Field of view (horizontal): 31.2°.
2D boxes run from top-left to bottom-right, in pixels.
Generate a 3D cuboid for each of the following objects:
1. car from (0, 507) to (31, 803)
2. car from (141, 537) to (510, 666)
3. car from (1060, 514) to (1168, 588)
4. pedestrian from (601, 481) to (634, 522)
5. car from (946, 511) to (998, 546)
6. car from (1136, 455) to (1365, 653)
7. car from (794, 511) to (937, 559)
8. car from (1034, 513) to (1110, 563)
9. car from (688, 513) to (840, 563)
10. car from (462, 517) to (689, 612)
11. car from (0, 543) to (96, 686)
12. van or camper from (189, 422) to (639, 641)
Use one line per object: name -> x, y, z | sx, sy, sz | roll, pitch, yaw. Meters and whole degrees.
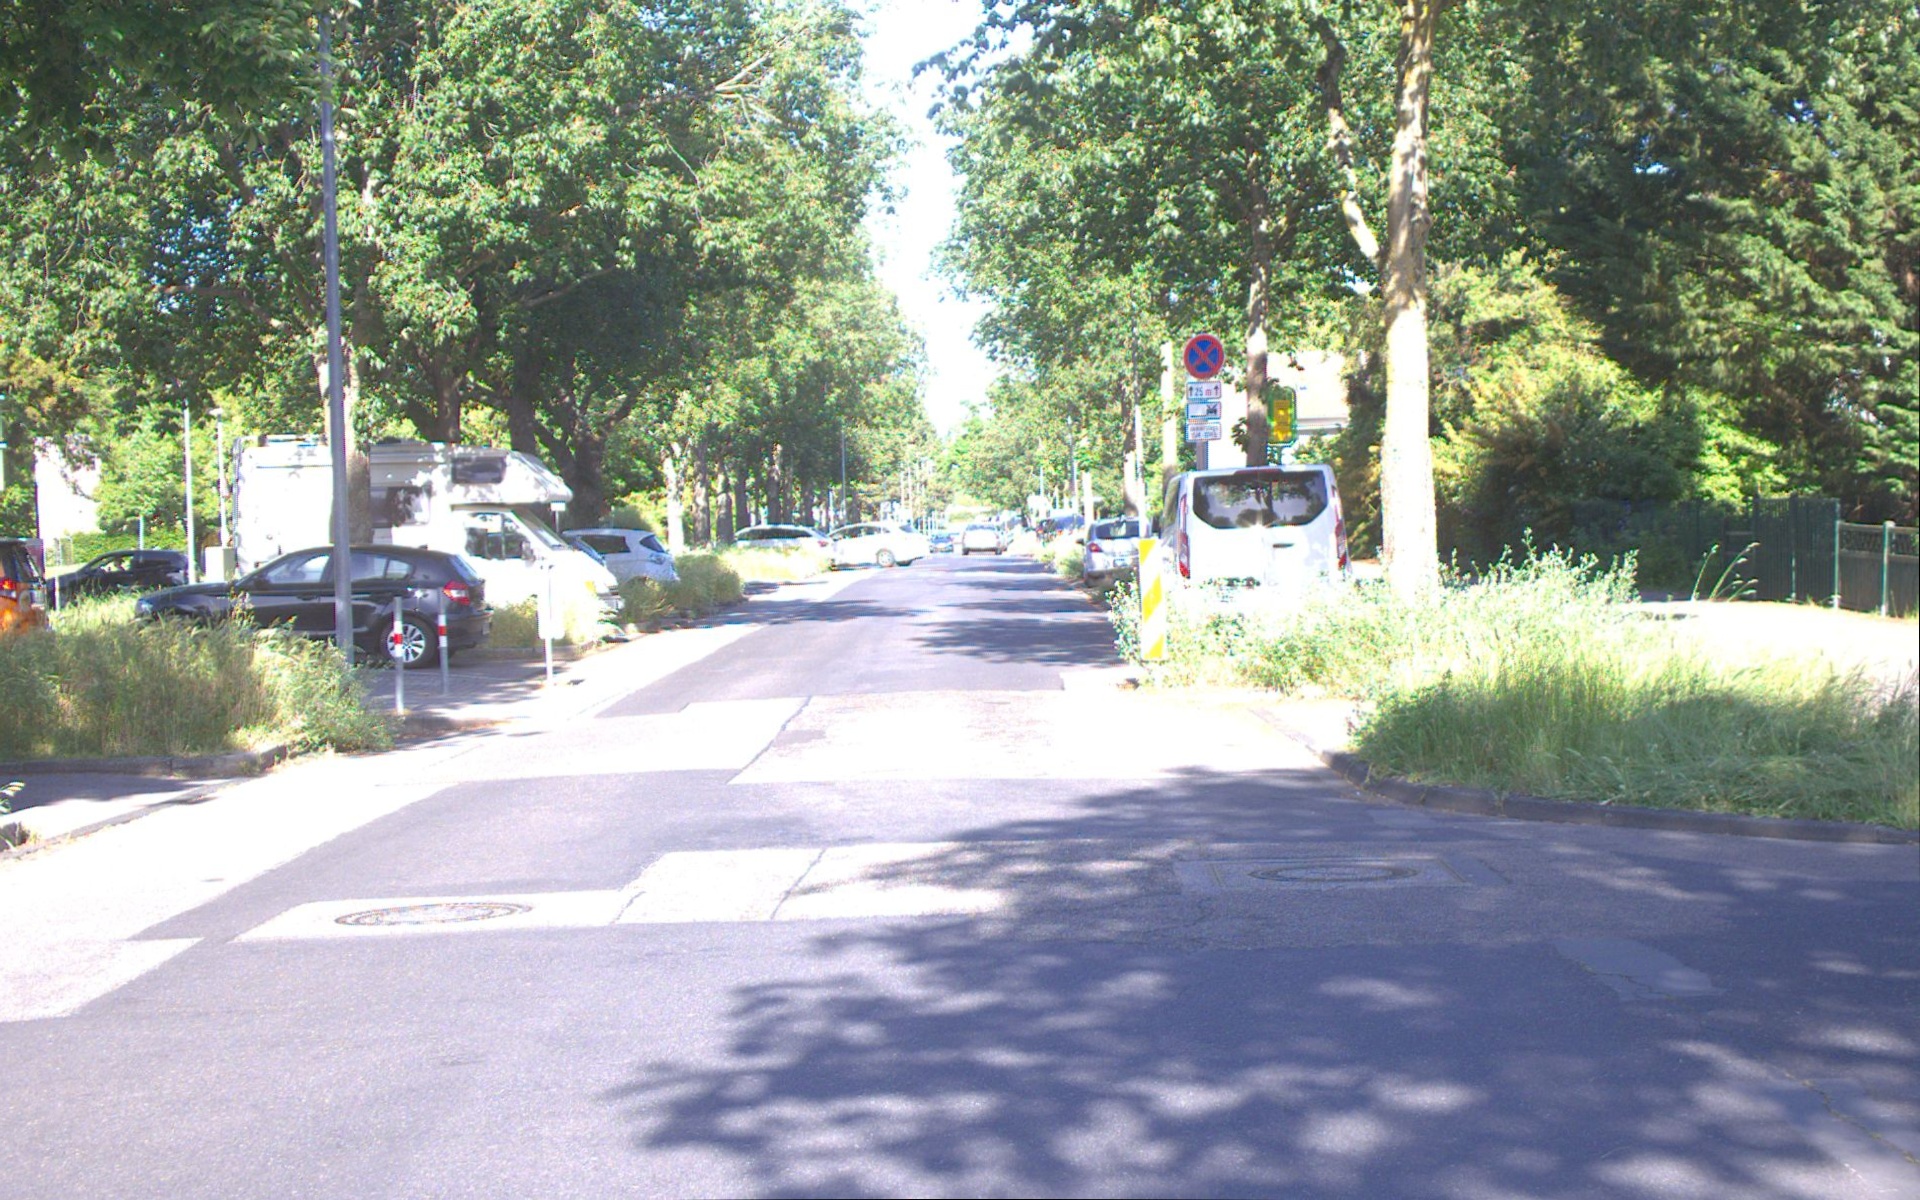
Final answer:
car -> -8.068, 0.264, 19.514 | 5.060, 1.722, 2.000 | 1, 1, -3
car -> -7.437, 0.003, 40.515 | 3.987, 1.445, 1.639 | 1, 1, 4
car -> 3.426, -1.079, 75.982 | 1.994, 1.505, 3.999 | -2, 0, 7
pedestrian -> -15.369, -4.415, 154.335 | 1.224, 1.821, 1.551 | 0, 0, -16
car -> 0.524, -3.159, 152.880 | 1.993, 1.503, 3.659 | 1, 1, -4
car -> 3.163, -0.516, 38.433 | 1.993, 2.007, 5.197 | 1, 1, -1
car -> -3.072, -2.119, 112.074 | 4.214, 1.450, 1.998 | -1, 1, 19
car -> 3.758, -2.097, 115.996 | 1.993, 1.616, 4.382 | 1, 1, -6
car -> -6.268, -1.998, 110.308 | 4.671, 1.498, 2.000 | -1, 1, 2
car -> -7.127, -0.678, 64.059 | 3.987, 1.655, 1.967 | -1, 1, 0
car -> -11.764, 0.156, 38.101 | 3.986, 1.537, 1.870 | 0, 1, -5
van or camper -> -7.464, -0.938, 47.321 | 5.776, 2.795, 2.000 | 2, 1, 3
